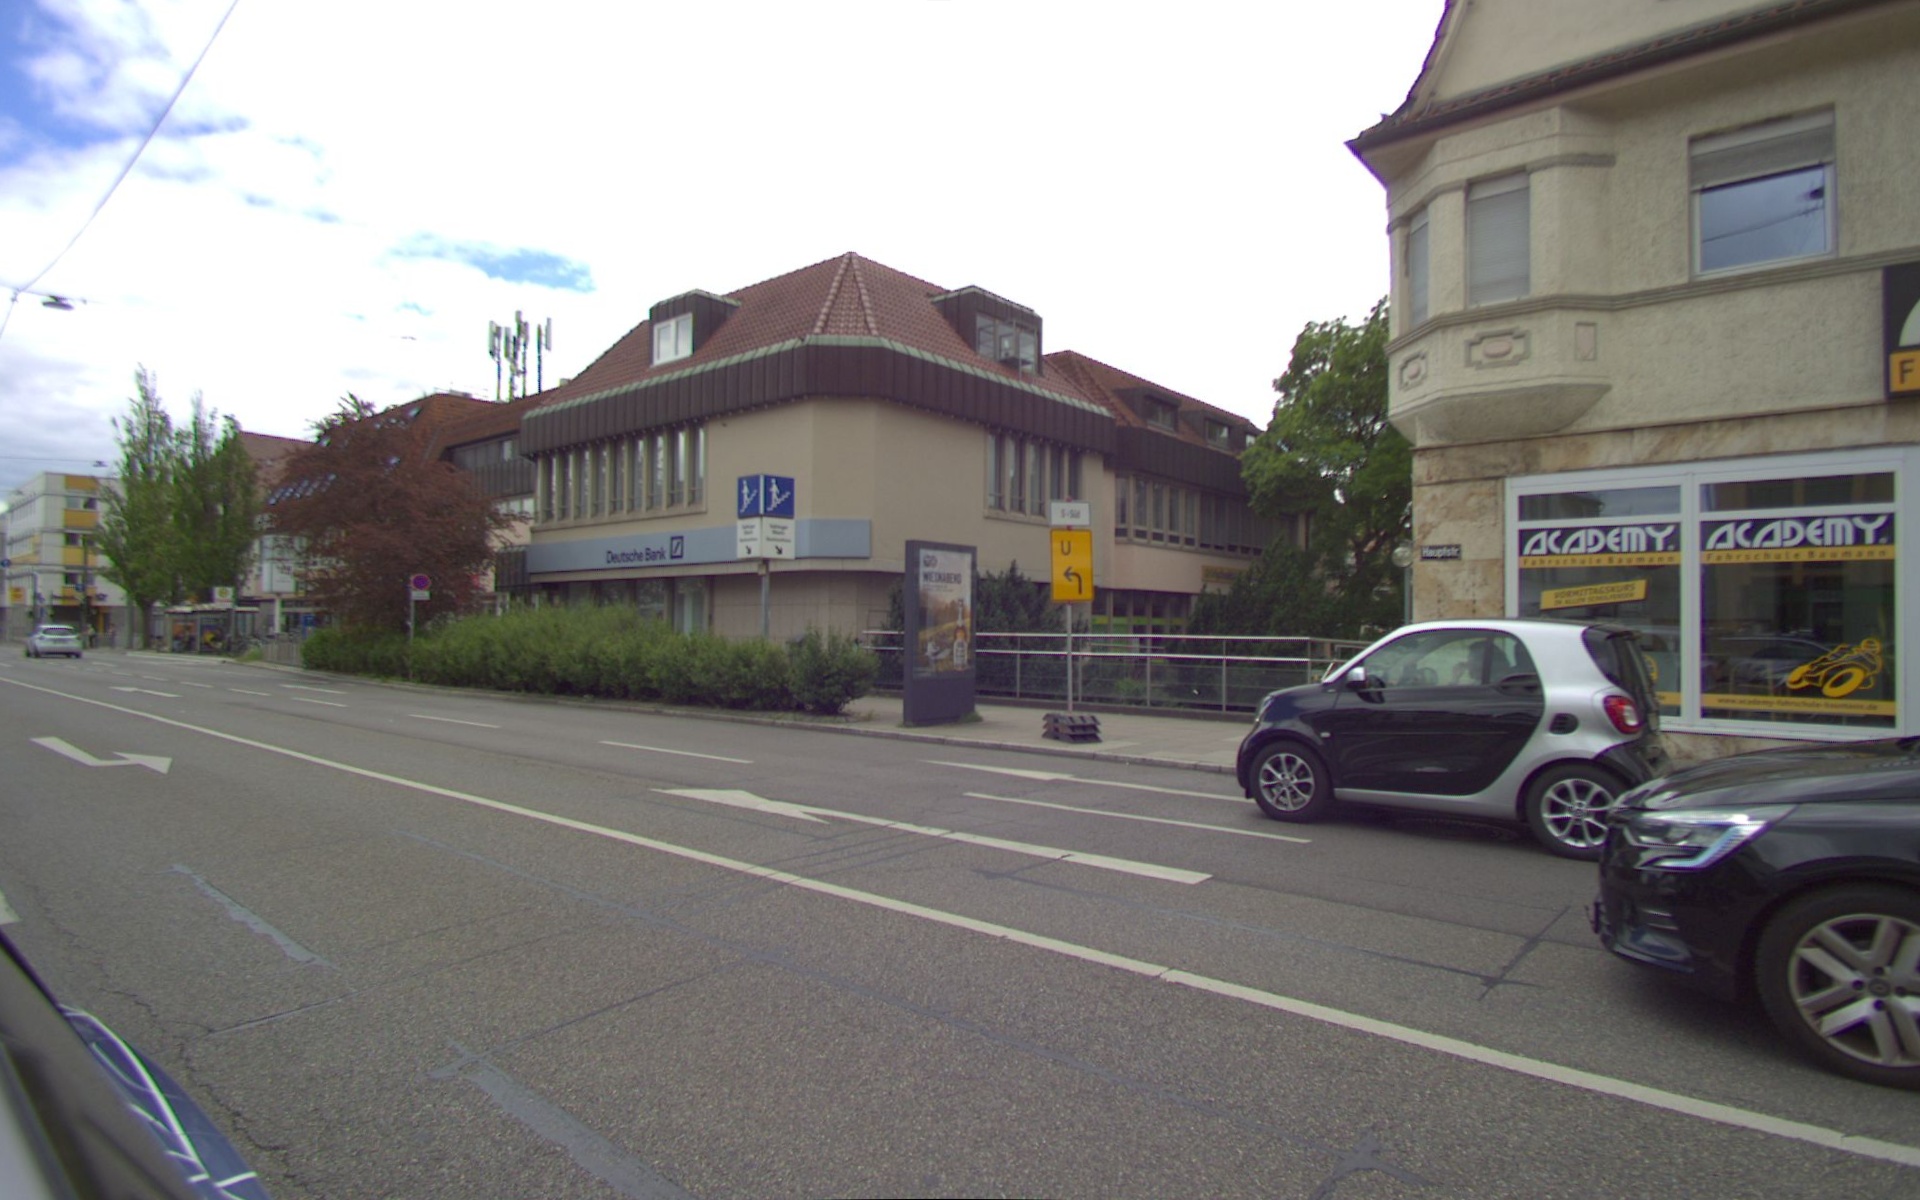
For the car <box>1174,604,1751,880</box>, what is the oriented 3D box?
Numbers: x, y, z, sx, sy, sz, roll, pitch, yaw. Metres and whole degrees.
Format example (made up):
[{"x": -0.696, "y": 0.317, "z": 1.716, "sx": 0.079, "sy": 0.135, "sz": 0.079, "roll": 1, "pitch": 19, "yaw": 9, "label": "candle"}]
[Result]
[{"x": 3.521, "y": 0.863, "z": 7.415, "sx": 3.505, "sy": 1.535, "sz": 1.600, "roll": -2, "pitch": -4, "yaw": 41, "label": "car"}]

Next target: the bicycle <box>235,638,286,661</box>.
[{"x": -34.491, "y": 2.437, "z": 49.953, "sx": 0.645, "sy": 1.098, "sz": 2.006, "roll": -1, "pitch": -1, "yaw": 26, "label": "bicycle"}]

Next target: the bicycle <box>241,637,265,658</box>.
[{"x": -37.703, "y": 2.541, "z": 53.956, "sx": 1.928, "sy": 1.098, "sz": 0.528, "roll": -1, "pitch": -2, "yaw": 39, "label": "bicycle"}]

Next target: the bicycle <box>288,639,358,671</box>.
[{"x": -22.547, "y": 1.937, "z": 35.856, "sx": 0.646, "sy": 1.098, "sz": 2.003, "roll": -1, "pitch": -2, "yaw": 31, "label": "bicycle"}]

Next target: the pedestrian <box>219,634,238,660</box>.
[{"x": -39.114, "y": 2.492, "z": 54.100, "sx": 0.588, "sy": 1.374, "sz": 0.704, "roll": -3, "pitch": -3, "yaw": 42, "label": "pedestrian"}]

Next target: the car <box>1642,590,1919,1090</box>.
[{"x": 4.277, "y": 0.692, "z": 2.698, "sx": 3.920, "sy": 1.439, "sz": 1.600, "roll": -2, "pitch": -3, "yaw": 40, "label": "car"}]

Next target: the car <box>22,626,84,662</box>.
[{"x": -43.093, "y": 2.083, "z": 48.084, "sx": 3.924, "sy": 1.580, "sz": 1.623, "roll": -2, "pitch": -5, "yaw": 41, "label": "car"}]

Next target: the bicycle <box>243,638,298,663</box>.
[{"x": -31.966, "y": 2.320, "z": 46.929, "sx": 0.646, "sy": 1.098, "sz": 2.003, "roll": -1, "pitch": -2, "yaw": 31, "label": "bicycle"}]

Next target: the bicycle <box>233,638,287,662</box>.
[{"x": -33.347, "y": 2.365, "z": 48.239, "sx": 0.646, "sy": 1.098, "sz": 2.003, "roll": -1, "pitch": -2, "yaw": 31, "label": "bicycle"}]

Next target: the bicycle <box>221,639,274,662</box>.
[{"x": -34.298, "y": 2.415, "z": 48.744, "sx": 0.648, "sy": 1.098, "sz": 2.000, "roll": -1, "pitch": -2, "yaw": 36, "label": "bicycle"}]

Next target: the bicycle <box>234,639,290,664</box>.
[{"x": -31.650, "y": 2.307, "z": 45.924, "sx": 0.646, "sy": 1.098, "sz": 2.003, "roll": -1, "pitch": -2, "yaw": 31, "label": "bicycle"}]

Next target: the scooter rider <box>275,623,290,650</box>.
[{"x": -43.421, "y": 2.348, "z": 64.893, "sx": 0.587, "sy": 1.725, "sz": 0.607, "roll": -2, "pitch": 0, "yaw": 37, "label": "scooter rider"}]
